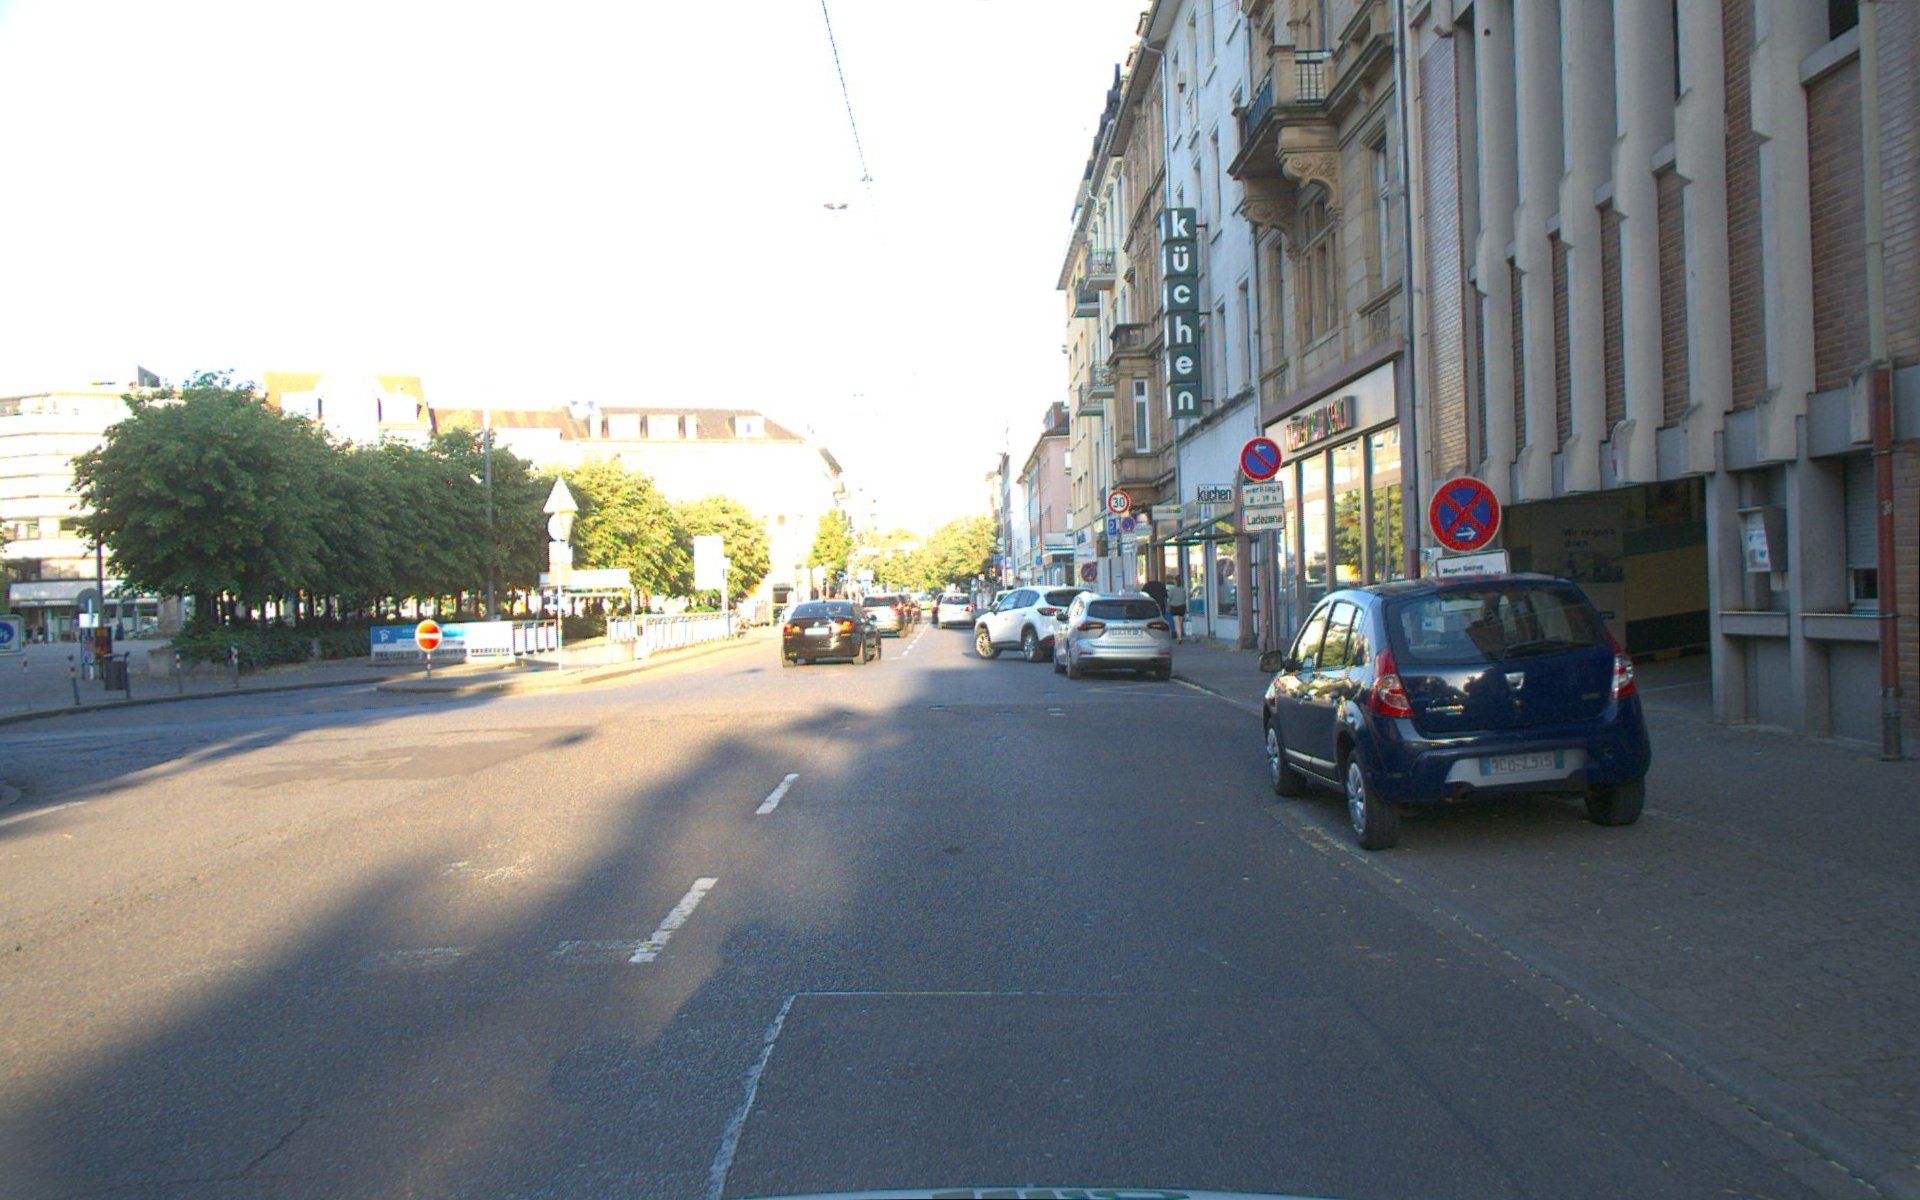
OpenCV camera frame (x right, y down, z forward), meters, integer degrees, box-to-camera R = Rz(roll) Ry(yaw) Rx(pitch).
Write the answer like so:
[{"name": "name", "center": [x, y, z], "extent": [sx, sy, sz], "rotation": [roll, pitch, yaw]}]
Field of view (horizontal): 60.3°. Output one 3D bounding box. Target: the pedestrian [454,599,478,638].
[{"name": "pedestrian", "center": [-20.660, 0.758, 69.195], "extent": [0.663, 1.623, 0.677], "rotation": [-1, 0, 19]}]

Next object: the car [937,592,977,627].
[{"name": "car", "center": [-0.167, 0.449, 77.667], "extent": [1.858, 1.609, 3.999], "rotation": [0, 0, -1]}]

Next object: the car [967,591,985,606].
[{"name": "car", "center": [1.776, -0.144, 182.502], "extent": [1.858, 1.608, 3.851], "rotation": [-2, 0, -1]}]

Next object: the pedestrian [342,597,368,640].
[{"name": "pedestrian", "center": [-22.733, 0.693, 62.144], "extent": [0.663, 1.623, 0.568], "rotation": [-1, 0, 19]}]

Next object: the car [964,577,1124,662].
[{"name": "car", "center": [1.865, 0.449, 38.183], "extent": [1.966, 1.792, 4.435], "rotation": [-2, 0, -22]}]

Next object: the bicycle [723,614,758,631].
[{"name": "bicycle", "center": [-11.400, 1.167, 85.936], "extent": [1.789, 0.868, 0.483], "rotation": [1, 0, -4]}]

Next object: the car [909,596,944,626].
[{"name": "car", "center": [-1.834, 0.586, 91.251], "extent": [1.858, 1.609, 3.851], "rotation": [1, 0, -1]}]

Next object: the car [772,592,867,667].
[{"name": "car", "center": [-3.137, 0.634, 37.617], "extent": [1.858, 1.609, 3.999], "rotation": [0, 0, -1]}]

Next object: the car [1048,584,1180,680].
[{"name": "car", "center": [2.654, 0.544, 29.569], "extent": [1.723, 1.563, 4.819], "rotation": [0, -1, -2]}]

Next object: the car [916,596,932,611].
[{"name": "car", "center": [-4.098, 0.363, 186.083], "extent": [1.743, 1.574, 3.999], "rotation": [-1, 0, -1]}]

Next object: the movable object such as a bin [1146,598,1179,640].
[{"name": "movable object such as a bin", "center": [5.561, 0.514, 45.380], "extent": [0.759, 1.089, 0.618], "rotation": [-4, 0, -1]}]

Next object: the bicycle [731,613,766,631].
[{"name": "bicycle", "center": [-11.196, 1.170, 87.741], "extent": [1.789, 0.868, 0.483], "rotation": [1, 0, -4]}]

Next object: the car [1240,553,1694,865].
[{"name": "car", "center": [3.103, 0.588, 11.024], "extent": [1.723, 1.563, 4.000], "rotation": [-5, 0, 1]}]

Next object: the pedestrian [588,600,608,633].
[{"name": "pedestrian", "center": [-17.805, 0.806, 81.330], "extent": [0.774, 1.623, 0.568], "rotation": [-1, 0, 19]}]

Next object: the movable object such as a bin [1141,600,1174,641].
[{"name": "movable object such as a bin", "center": [5.516, 0.579, 46.186], "extent": [0.759, 1.089, 0.618], "rotation": [-4, 0, -1]}]

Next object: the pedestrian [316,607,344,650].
[{"name": "pedestrian", "center": [-23.747, 1.077, 62.334], "extent": [0.774, 1.623, 0.568], "rotation": [-1, 0, 19]}]

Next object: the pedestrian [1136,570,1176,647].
[{"name": "pedestrian", "center": [4.935, 0.211, 41.694], "extent": [0.757, 1.859, 1.010], "rotation": [-3, 0, -1]}]

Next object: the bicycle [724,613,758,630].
[{"name": "bicycle", "center": [-11.735, 1.161, 88.647], "extent": [1.789, 0.868, 0.483], "rotation": [1, 0, -4]}]

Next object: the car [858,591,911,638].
[{"name": "car", "center": [-2.857, 0.546, 62.994], "extent": [1.858, 1.678, 4.103], "rotation": [-1, 0, -1]}]

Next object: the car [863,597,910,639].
[{"name": "car", "center": [-3.074, 0.745, 69.877], "extent": [1.858, 1.678, 4.103], "rotation": [-1, 0, -1]}]

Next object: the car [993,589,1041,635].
[{"name": "car", "center": [2.155, 0.464, 63.730], "extent": [1.694, 1.679, 4.284], "rotation": [0, -1, 0]}]

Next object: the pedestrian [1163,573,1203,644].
[{"name": "pedestrian", "center": [5.641, 0.207, 41.837], "extent": [0.757, 1.741, 1.042], "rotation": [-3, 0, -1]}]

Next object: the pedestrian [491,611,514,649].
[{"name": "pedestrian", "center": [-20.008, 1.299, 72.332], "extent": [0.663, 1.623, 0.677], "rotation": [-1, 0, 19]}]
